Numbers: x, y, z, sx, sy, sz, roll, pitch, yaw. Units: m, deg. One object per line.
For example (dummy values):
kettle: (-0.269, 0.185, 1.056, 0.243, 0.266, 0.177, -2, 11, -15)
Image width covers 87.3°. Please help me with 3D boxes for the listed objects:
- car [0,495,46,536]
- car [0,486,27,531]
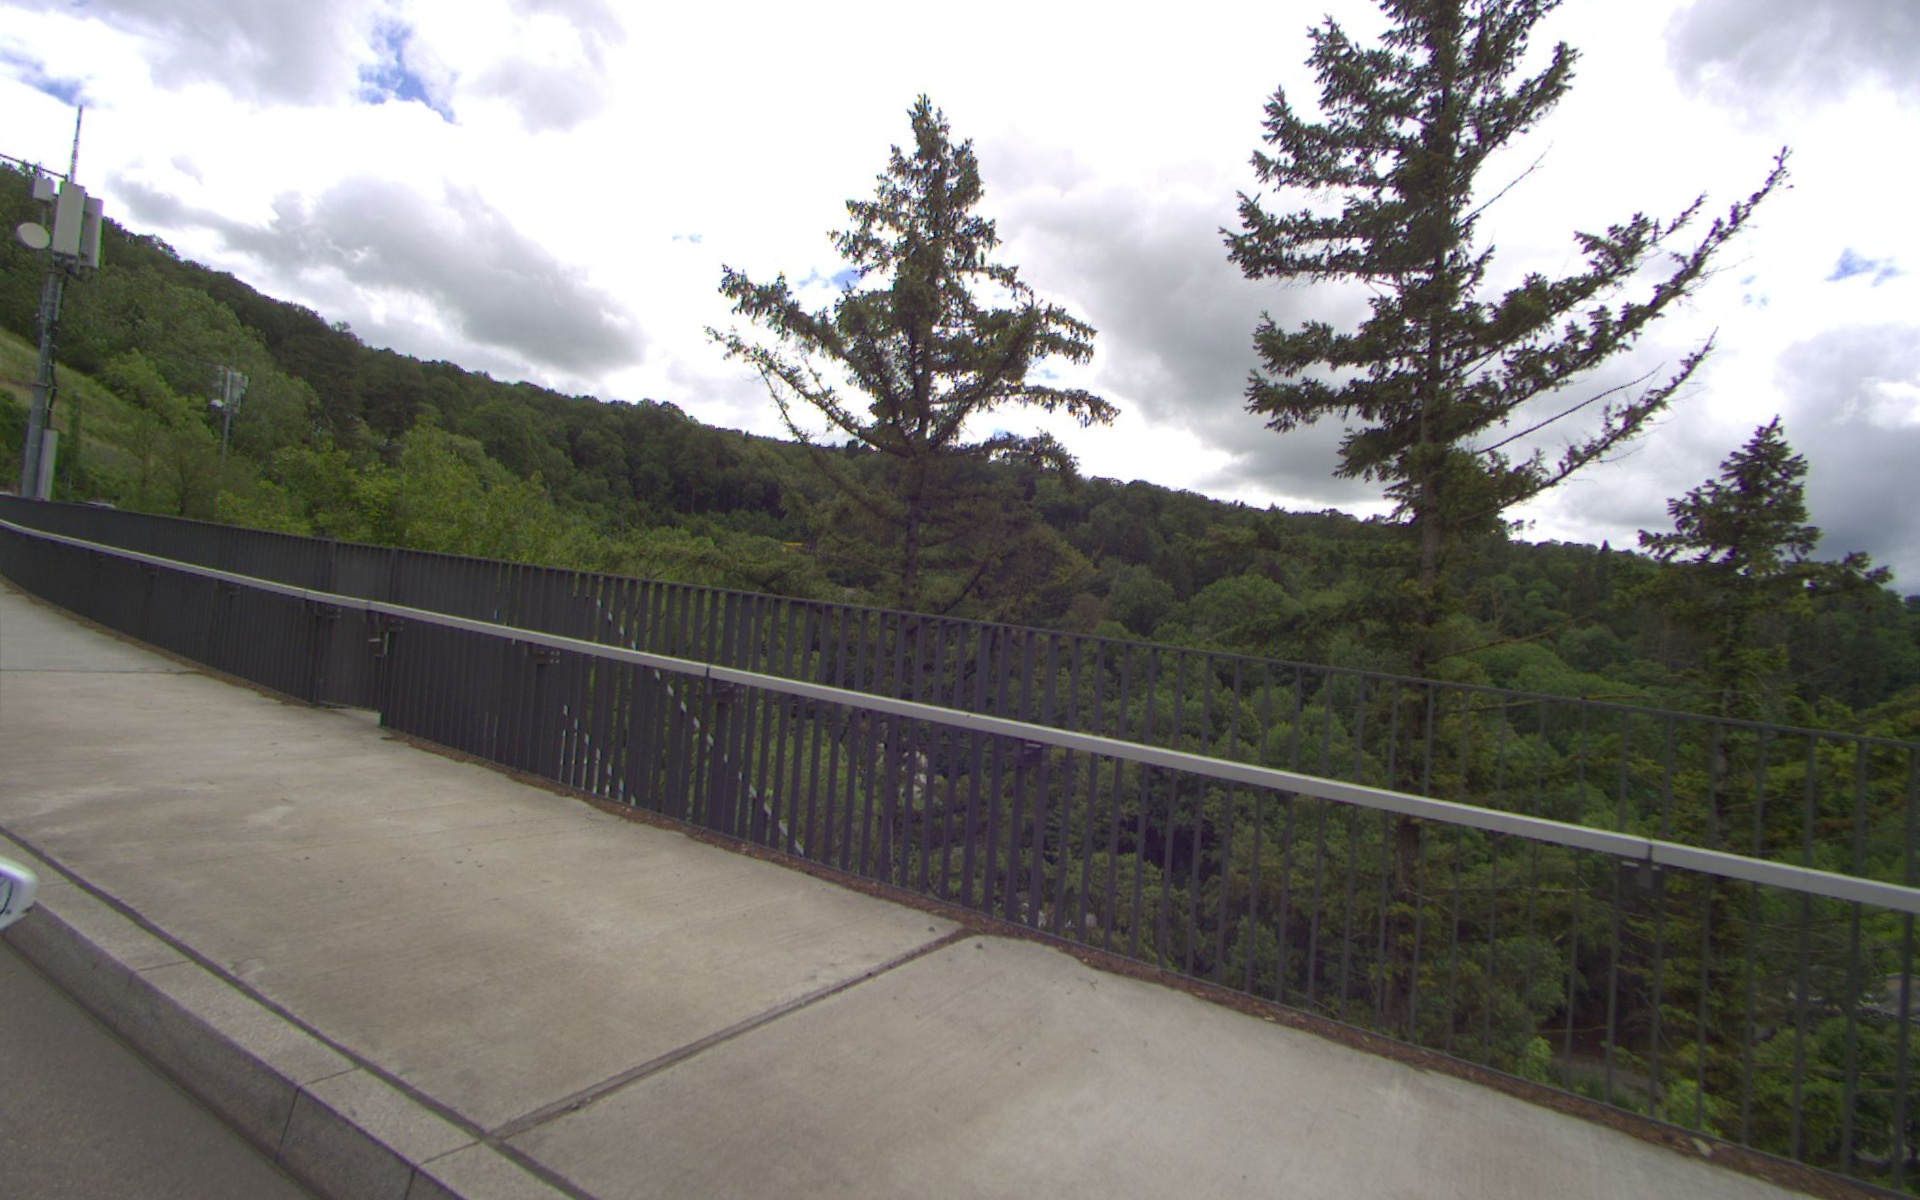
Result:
car: (-51.298, -4.575, 54.578, 1.857, 1.782, 3.967, 6, -3, -34)
car: (-46.793, -4.464, 48.745, 1.983, 2.039, 3.958, 4, 0, -39)
